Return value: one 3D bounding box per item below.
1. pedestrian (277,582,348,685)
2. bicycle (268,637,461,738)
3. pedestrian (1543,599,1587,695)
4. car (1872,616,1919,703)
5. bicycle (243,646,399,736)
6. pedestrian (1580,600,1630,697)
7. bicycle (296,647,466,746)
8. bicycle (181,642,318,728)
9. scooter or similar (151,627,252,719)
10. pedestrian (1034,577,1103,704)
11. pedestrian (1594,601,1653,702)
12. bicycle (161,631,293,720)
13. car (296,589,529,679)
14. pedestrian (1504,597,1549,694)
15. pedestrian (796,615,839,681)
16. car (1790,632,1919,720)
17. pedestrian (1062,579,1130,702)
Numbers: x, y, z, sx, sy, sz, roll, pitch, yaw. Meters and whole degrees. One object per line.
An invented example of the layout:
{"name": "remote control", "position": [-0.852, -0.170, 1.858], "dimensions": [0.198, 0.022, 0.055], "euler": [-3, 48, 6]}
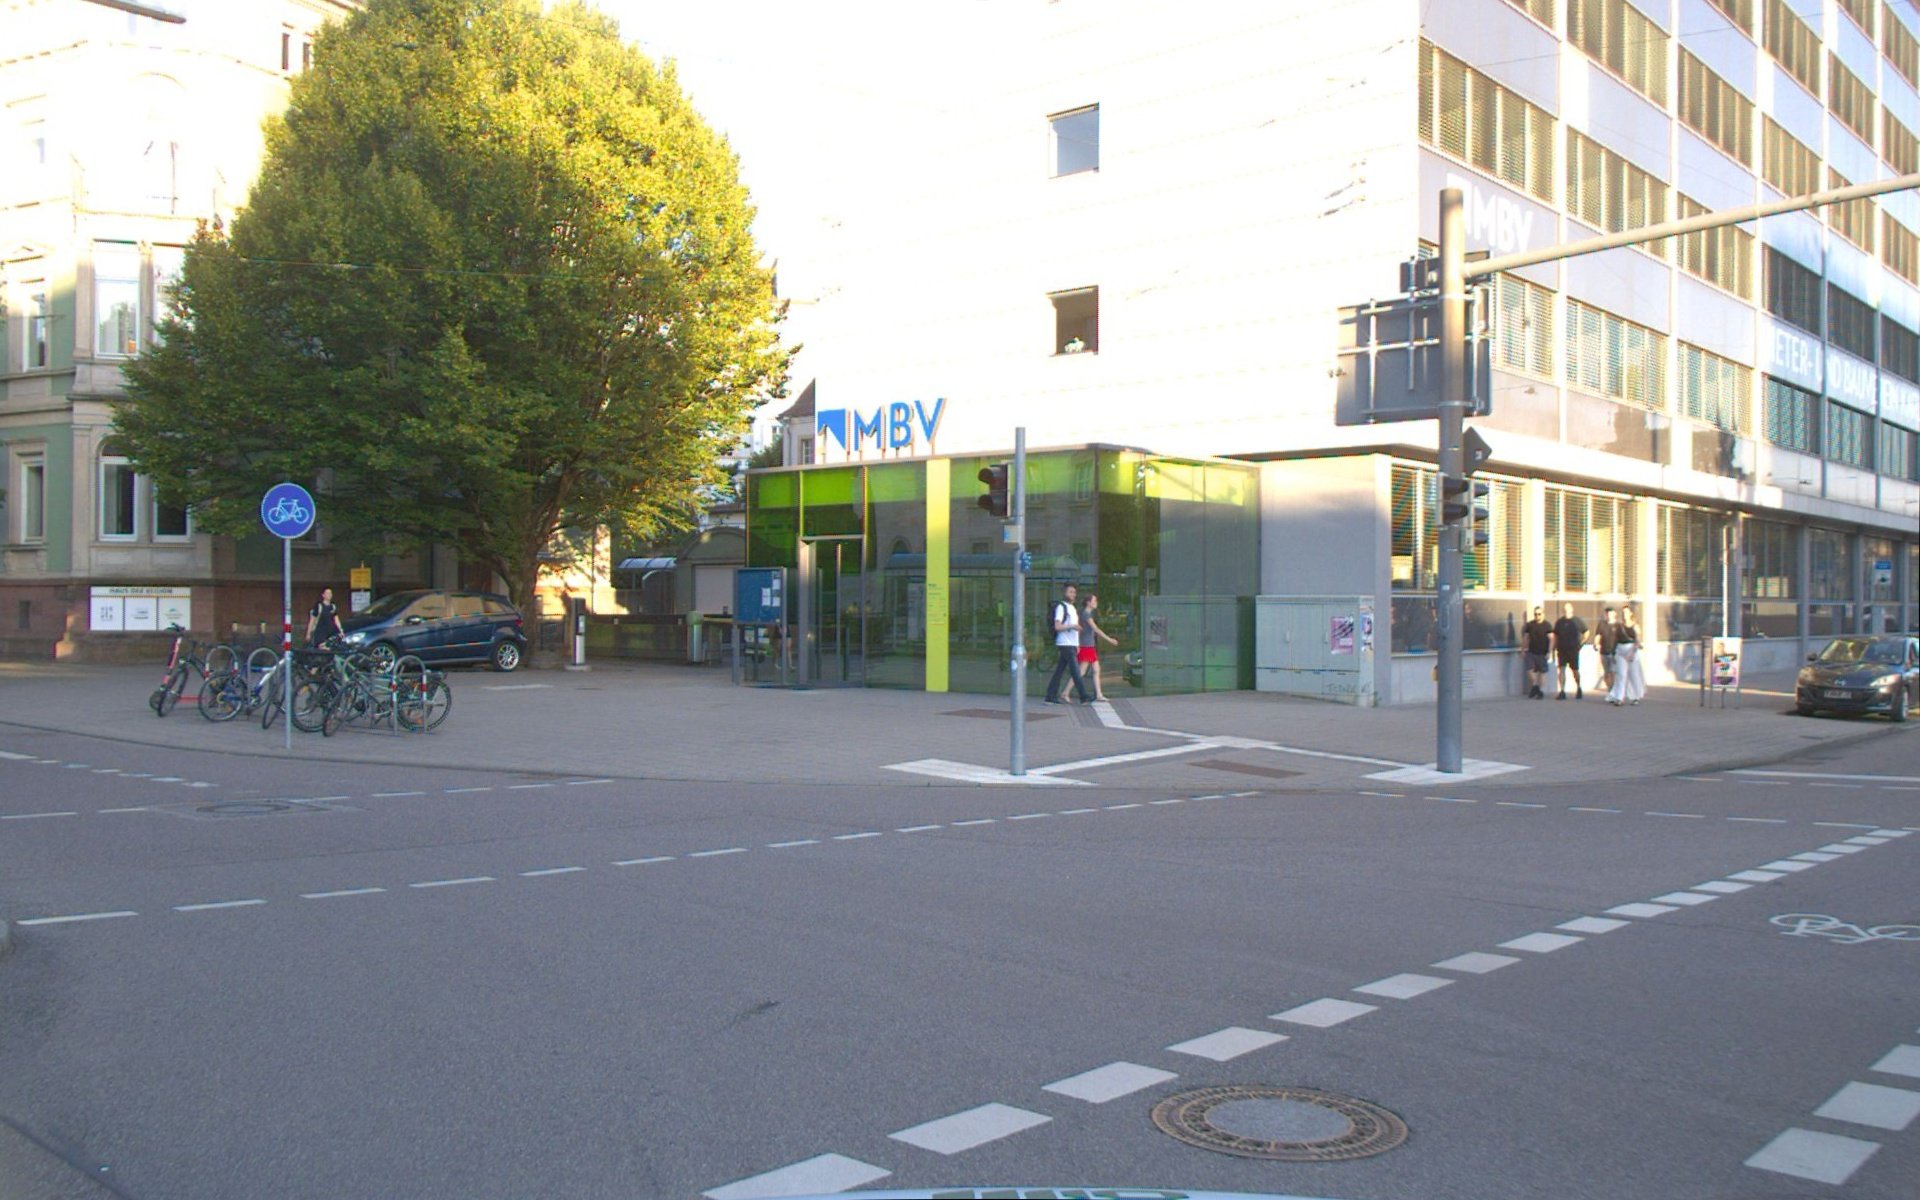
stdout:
{"name": "pedestrian", "position": [-11.524, 0.582, 29.439], "dimensions": [0.967, 1.799, 0.708], "euler": [0, -1, 26]}
{"name": "bicycle", "position": [-7.509, 1.075, 20.945], "dimensions": [0.731, 1.152, 2.224], "euler": [0, 0, 42]}
{"name": "pedestrian", "position": [11.518, 0.883, 31.485], "dimensions": [0.642, 1.799, 0.643], "euler": [0, -1, 37]}
{"name": "car", "position": [20.570, 1.244, 34.761], "dimensions": [1.668, 1.693, 3.847], "euler": [5, 2, 40]}
{"name": "bicycle", "position": [-8.304, 1.155, 21.536], "dimensions": [0.731, 1.093, 1.750], "euler": [0, -1, 42]}
{"name": "pedestrian", "position": [12.098, 0.899, 31.012], "dimensions": [0.727, 1.799, 0.670], "euler": [0, -1, 37]}
{"name": "bicycle", "position": [-6.992, 1.141, 19.992], "dimensions": [1.842, 1.093, 0.736], "euler": [0, 0, -32]}
{"name": "bicycle", "position": [-9.623, 1.127, 22.425], "dimensions": [0.731, 1.093, 1.546], "euler": [0, -1, 42]}
{"name": "scooter or similar", "position": [-11.032, 1.045, 24.062], "dimensions": [0.580, 1.246, 1.197], "euler": [0, 1, 41]}
{"name": "pedestrian", "position": [1.577, 0.580, 24.083], "dimensions": [0.722, 1.799, 0.704], "euler": [0, -1, 41]}
{"name": "pedestrian", "position": [12.073, 0.920, 30.111], "dimensions": [0.827, 1.799, 0.782], "euler": [0, -1, 37]}
{"name": "bicycle", "position": [-10.254, 1.032, 23.167], "dimensions": [0.731, 1.183, 1.521], "euler": [0, -1, 42]}
{"name": "car", "position": [-10.603, 0.637, 32.244], "dimensions": [1.770, 1.601, 3.975], "euler": [1, 0, 40]}
{"name": "pedestrian", "position": [10.664, 0.853, 31.147], "dimensions": [0.642, 1.799, 0.643], "euler": [0, -1, 37]}
{"name": "pedestrian", "position": [-2.672, 0.896, 31.038], "dimensions": [0.604, 1.230, 0.540], "euler": [0, -1, 41]}
{"name": "car", "position": [16.730, 1.349, 30.476], "dimensions": [1.668, 1.435, 3.847], "euler": [3, 1, 40]}
{"name": "pedestrian", "position": [2.030, 0.590, 24.641], "dimensions": [0.733, 1.799, 0.704], "euler": [0, -1, 41]}
